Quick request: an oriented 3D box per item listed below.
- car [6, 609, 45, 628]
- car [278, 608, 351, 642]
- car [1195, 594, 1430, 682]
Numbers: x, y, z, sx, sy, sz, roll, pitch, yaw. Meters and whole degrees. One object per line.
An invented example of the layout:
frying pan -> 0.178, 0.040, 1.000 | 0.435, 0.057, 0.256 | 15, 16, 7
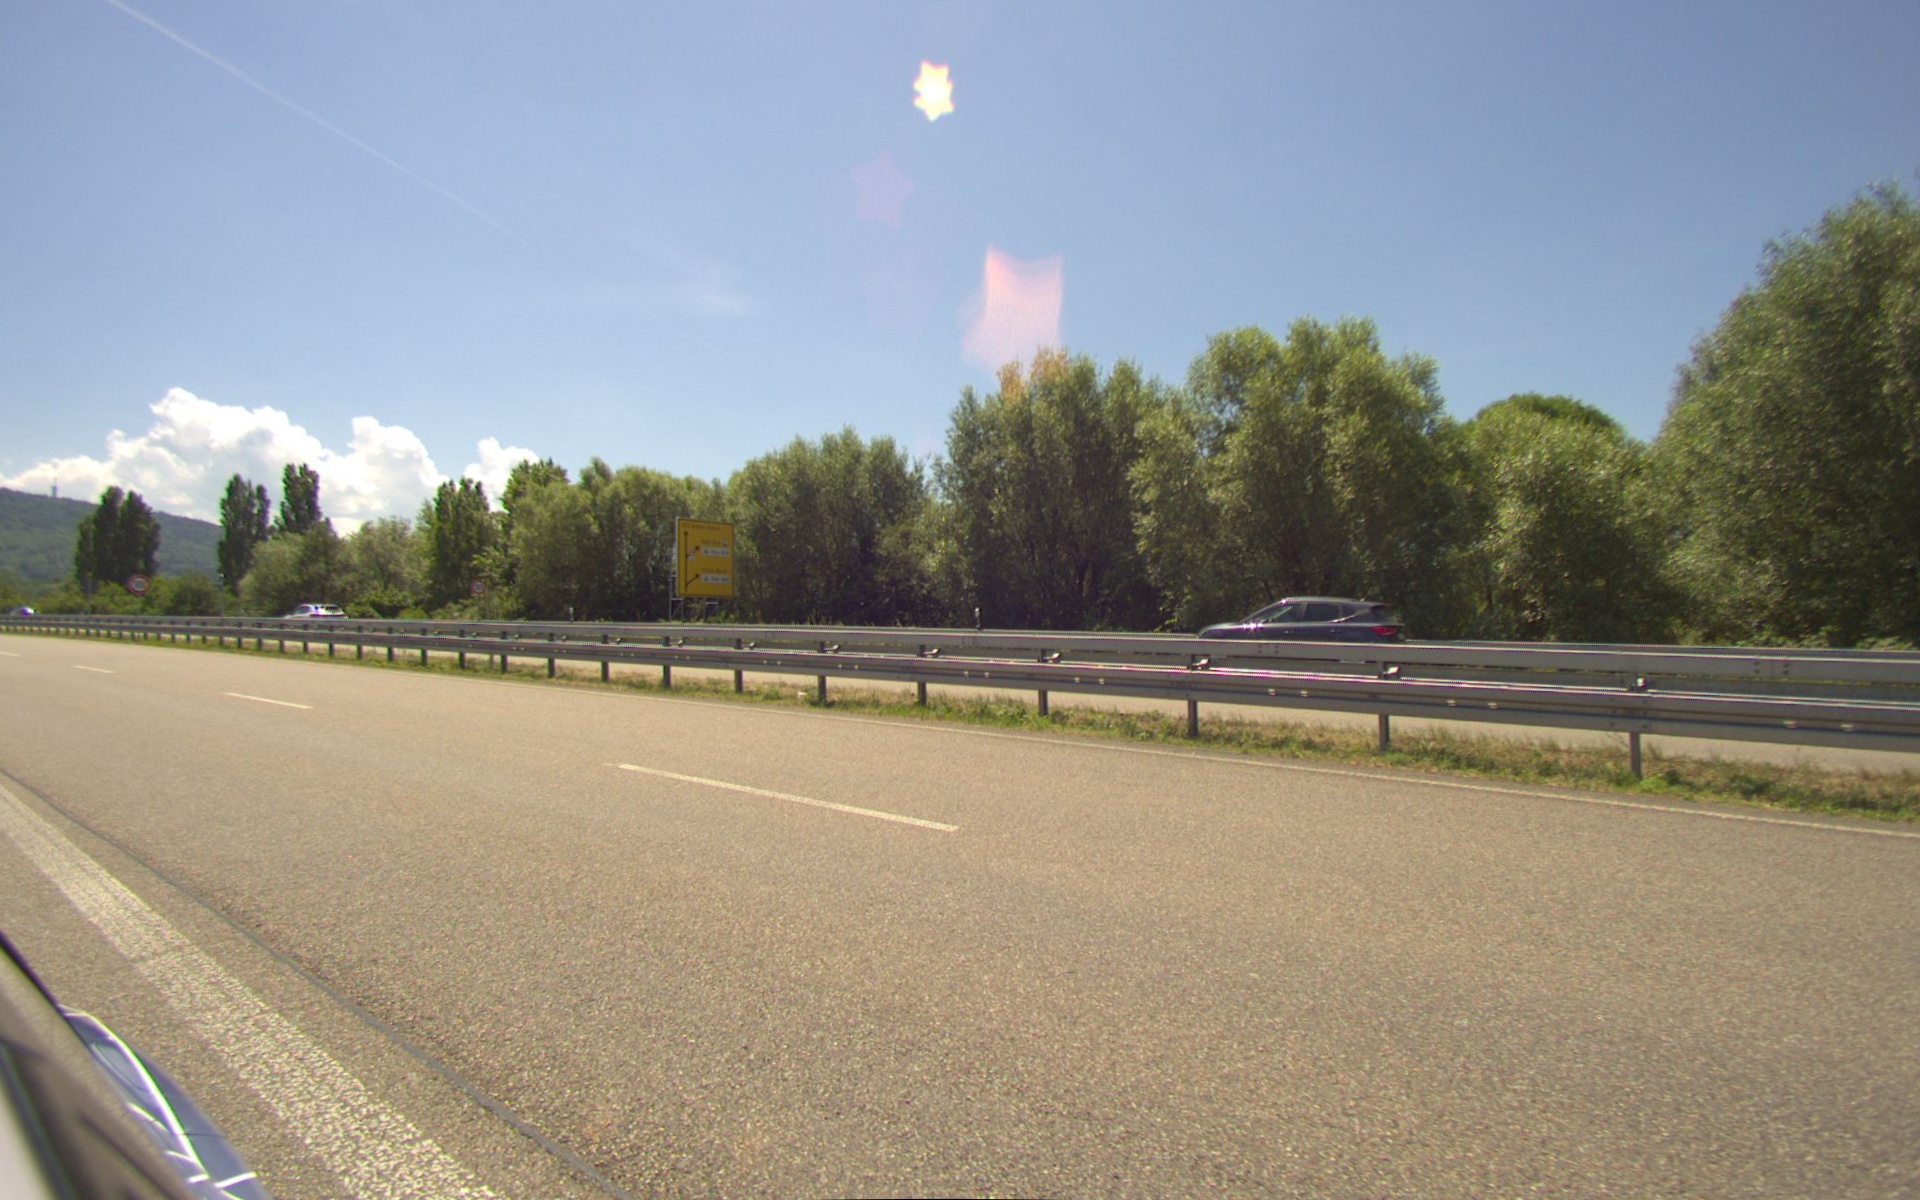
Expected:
car -> -76.330, 1.509, 82.639 | 3.698, 1.530, 1.765 | -1, 0, 37
car -> -30.149, 1.125, 47.240 | 3.995, 1.515, 1.693 | -1, 0, 39
car -> 6.869, 0.694, 19.917 | 4.067, 1.563, 1.674 | -1, -1, 36
